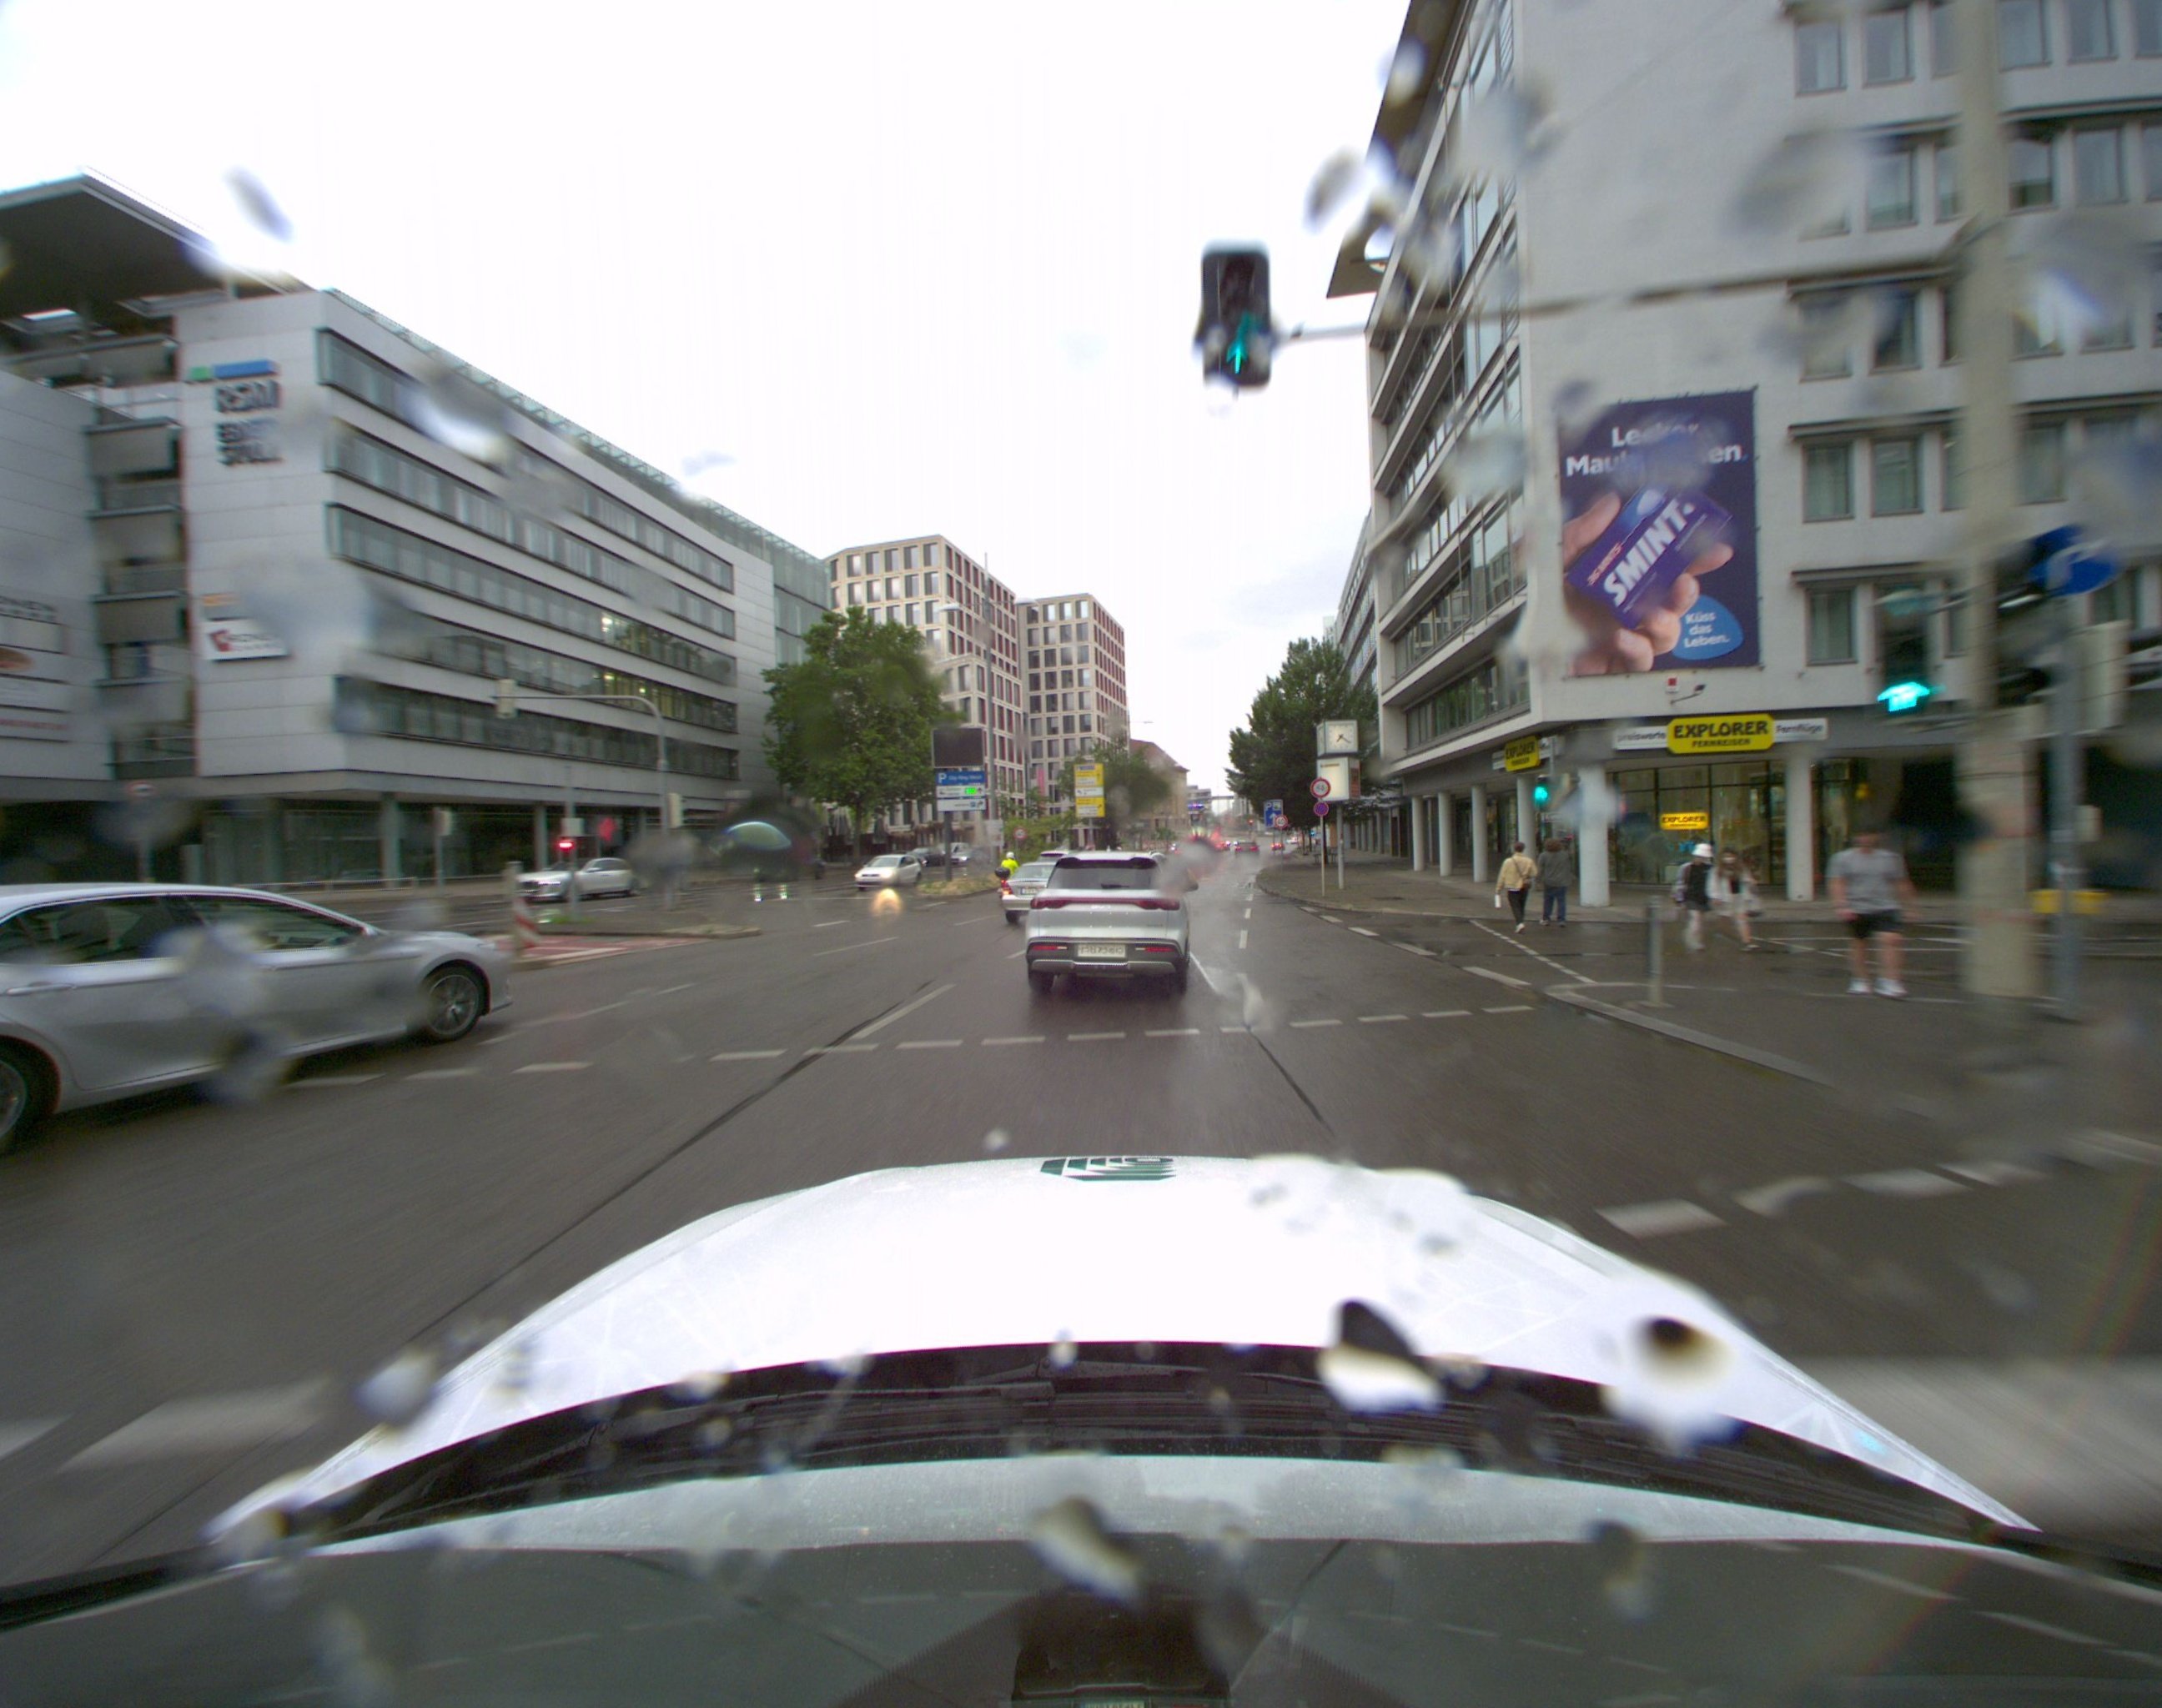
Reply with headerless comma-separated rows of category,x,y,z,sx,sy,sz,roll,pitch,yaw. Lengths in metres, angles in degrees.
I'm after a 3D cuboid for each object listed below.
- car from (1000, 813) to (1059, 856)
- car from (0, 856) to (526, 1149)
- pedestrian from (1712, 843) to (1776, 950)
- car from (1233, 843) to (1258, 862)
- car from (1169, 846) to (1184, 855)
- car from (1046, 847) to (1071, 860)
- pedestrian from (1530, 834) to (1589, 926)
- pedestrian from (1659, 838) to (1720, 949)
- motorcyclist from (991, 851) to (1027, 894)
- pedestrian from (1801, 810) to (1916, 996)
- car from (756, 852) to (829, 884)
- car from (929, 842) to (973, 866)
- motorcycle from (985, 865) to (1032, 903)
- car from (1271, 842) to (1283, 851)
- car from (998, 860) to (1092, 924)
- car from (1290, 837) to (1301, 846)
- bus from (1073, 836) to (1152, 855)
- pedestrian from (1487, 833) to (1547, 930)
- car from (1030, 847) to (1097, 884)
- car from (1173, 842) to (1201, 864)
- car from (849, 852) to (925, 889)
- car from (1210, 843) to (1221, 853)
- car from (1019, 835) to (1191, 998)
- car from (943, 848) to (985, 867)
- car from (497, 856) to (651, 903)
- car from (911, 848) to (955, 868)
car,-2.661,-0.974,43.494,1.981,2.014,4.862,-1,-1,10
car,-6.466,0.791,5.464,1.856,1.533,4.785,-1,0,6
pedestrian,9.915,0.613,12.200,0.618,1.543,0.657,-1,-1,31
car,13.804,-0.091,68.126,1.680,1.486,4.017,-1,-1,16
car,16.713,-0.689,142.840,1.978,1.486,4.017,-1,0,16
car,-2.847,-0.095,102.842,1.979,1.488,4.016,-1,0,15
pedestrian,9.675,0.513,16.486,0.744,1.798,0.818,-1,0,8
pedestrian,9.345,0.587,12.536,0.662,1.655,0.657,-1,-1,31
motorcyclist,-2.336,0.597,26.547,0.764,1.380,1.123,-1,-1,17
pedestrian,7.947,0.476,8.359,0.662,1.794,0.778,-1,-1,31
car,-15.792,0.724,44.848,1.621,1.559,4.607,-1,0,11
car,-11.582,-0.036,72.994,1.979,2.011,4.948,-1,0,15
motorcycle,-2.323,0.953,26.500,0.794,1.185,2.037,-1,-1,17
car,33.603,-1.224,139.415,1.680,1.486,4.018,-1,-1,18
car,-0.776,0.877,20.067,1.562,1.407,4.118,-1,-1,8
car,50.374,-2.944,190.981,1.982,2.014,4.008,-1,-1,8
bus,7.072,-1.853,182.082,16.842,4.063,4.454,-1,-1,14
pedestrian,8.335,0.510,15.597,0.744,1.798,0.818,-1,0,8
car,-0.683,0.497,34.312,1.694,1.486,4.016,-1,-1,16
car,7.709,-0.073,59.133,1.559,1.486,4.014,-1,-1,14
car,-8.217,0.672,34.867,1.621,1.437,3.920,-1,0,11
car,22.898,-1.071,138.711,1.876,1.643,4.011,-1,0,10
car,0.510,0.688,10.490,1.766,1.679,4.008,-1,-1,8
car,-9.699,0.244,67.648,1.979,1.488,4.016,-1,0,15
car,-18.563,0.868,30.207,1.802,1.510,5.210,-1,0,10
car,-12.211,0.314,67.259,1.979,1.488,4.016,-1,0,15
